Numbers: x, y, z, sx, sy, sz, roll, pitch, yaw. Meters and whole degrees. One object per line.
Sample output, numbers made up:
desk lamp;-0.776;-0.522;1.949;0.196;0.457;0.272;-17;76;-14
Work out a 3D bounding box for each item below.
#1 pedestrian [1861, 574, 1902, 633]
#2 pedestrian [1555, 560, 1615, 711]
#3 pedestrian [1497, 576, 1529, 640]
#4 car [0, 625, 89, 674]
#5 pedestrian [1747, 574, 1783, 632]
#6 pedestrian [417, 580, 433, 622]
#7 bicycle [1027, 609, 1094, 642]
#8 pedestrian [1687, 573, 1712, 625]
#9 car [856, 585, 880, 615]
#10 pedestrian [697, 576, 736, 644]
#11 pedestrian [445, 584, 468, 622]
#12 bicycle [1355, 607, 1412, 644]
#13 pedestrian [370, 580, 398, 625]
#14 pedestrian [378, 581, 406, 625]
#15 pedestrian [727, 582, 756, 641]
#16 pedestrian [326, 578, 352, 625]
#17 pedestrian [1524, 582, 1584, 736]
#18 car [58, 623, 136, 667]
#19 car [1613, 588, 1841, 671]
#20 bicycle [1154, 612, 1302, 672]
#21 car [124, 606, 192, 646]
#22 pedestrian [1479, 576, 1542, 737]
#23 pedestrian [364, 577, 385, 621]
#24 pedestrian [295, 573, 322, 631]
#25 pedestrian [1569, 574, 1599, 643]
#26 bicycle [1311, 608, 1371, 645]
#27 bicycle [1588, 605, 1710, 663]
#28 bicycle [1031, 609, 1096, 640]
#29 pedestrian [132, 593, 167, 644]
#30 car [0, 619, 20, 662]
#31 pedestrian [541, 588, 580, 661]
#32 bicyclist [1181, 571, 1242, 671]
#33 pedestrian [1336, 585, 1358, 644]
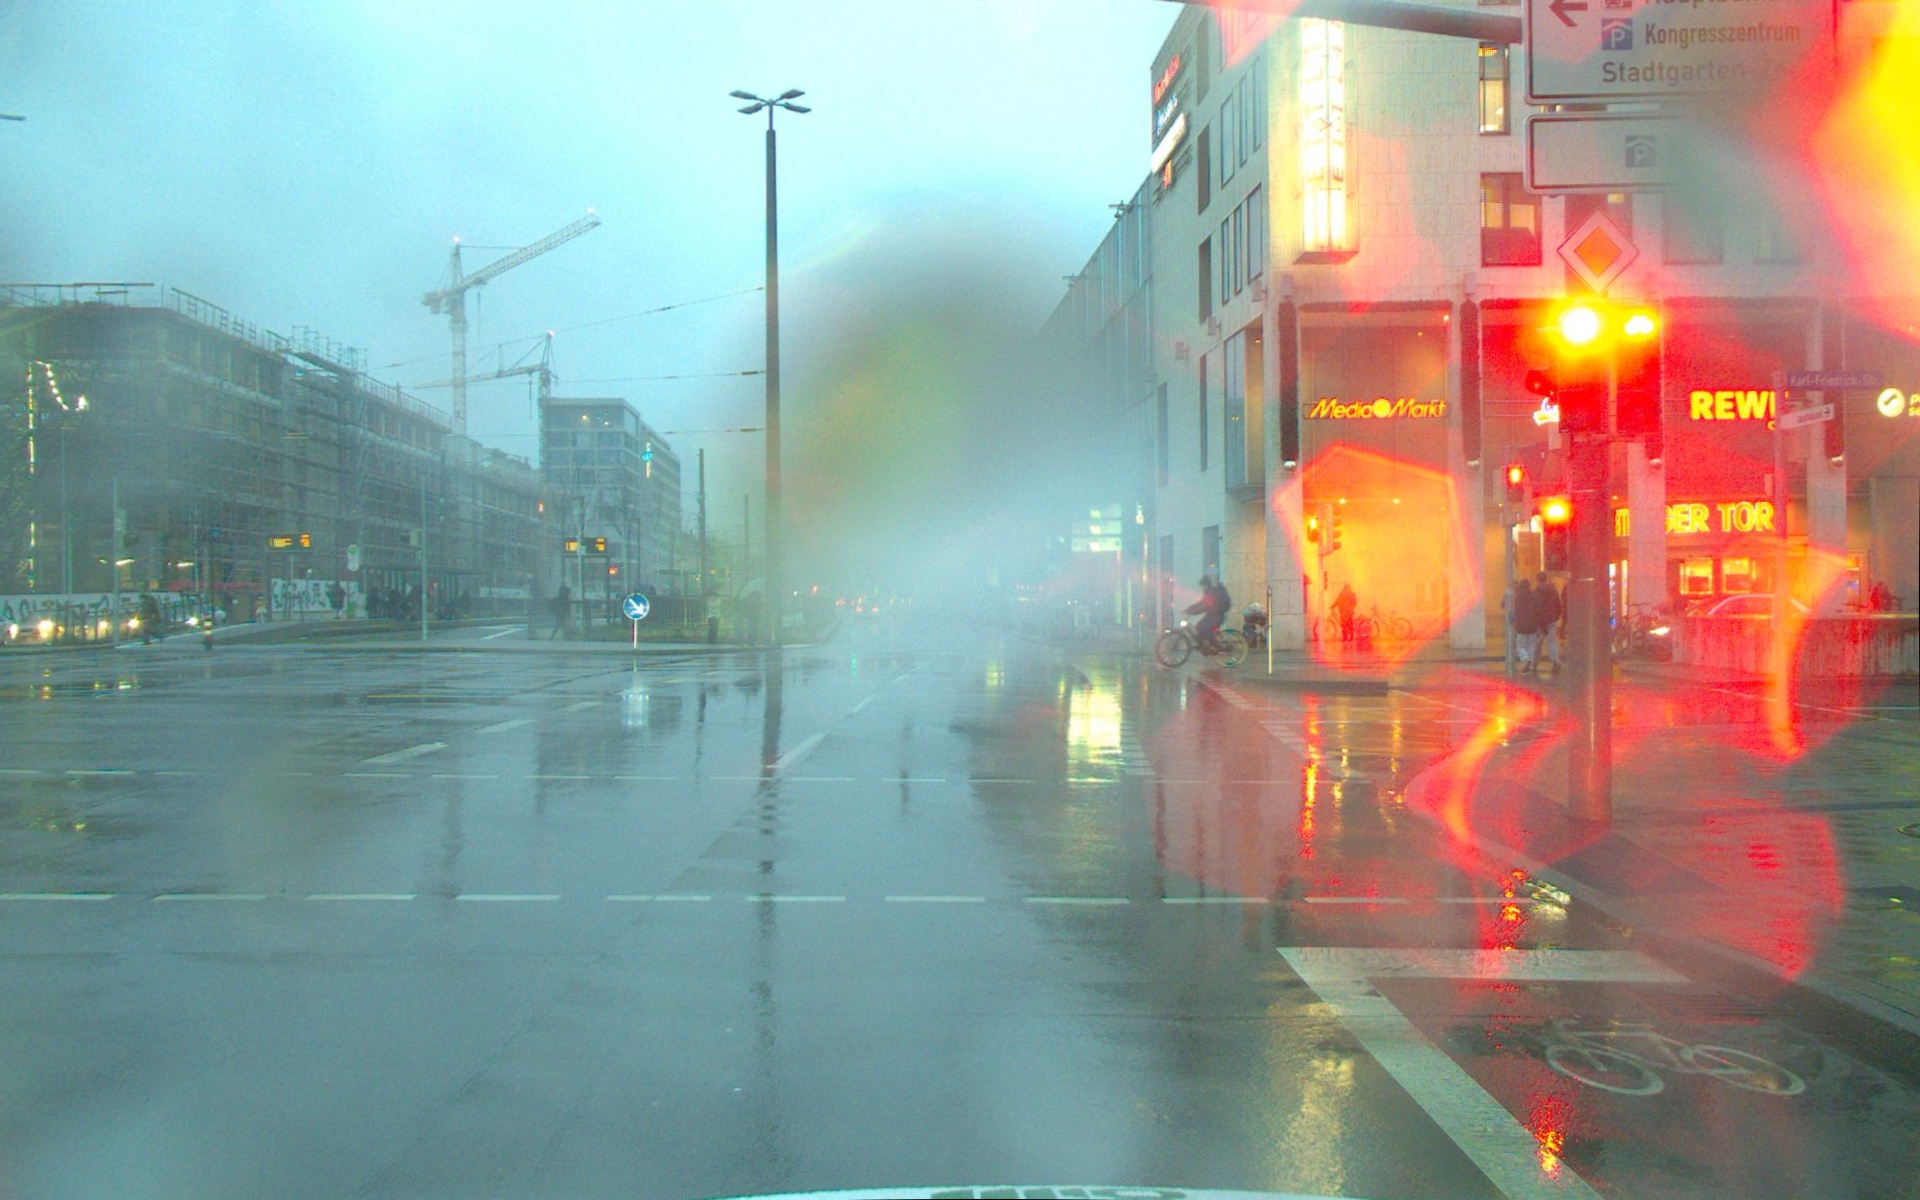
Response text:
pedestrian;26.829;0.108;48.165;0.875;1.714;0.528;-1;-1;-1
pedestrian;10.479;0.592;27.764;0.679;2.491;0.791;1;-1;-1
pedestrian;17.771;0.251;53.167;0.828;2.049;0.698;-1;0;8
car;-37.024;1.985;66.918;1.830;1.860;3.993;1;0;-8
pedestrian;24.139;0.080;49.590;0.726;1.713;0.782;1;-1;5
pedestrian;-26.037;0.054;80.490;0.559;2.002;0.664;2;-1;-7
bicycle;3.731;0.951;61.438;2.393;1.174;0.674;-1;-1;-2
pedestrian;25.164;-0.032;56.294;0.721;1.748;0.738;-1;-1;27
car;-6.339;-0.015;114.109;1.546;2.049;3.169;-1;0;-3
pedestrian;-6.845;0.284;46.444;0.813;1.863;0.777;1;-1;-31
pedestrian;-27.606;0.167;90.731;0.923;2.049;1.093;1;-1;-3
bicycle;13.044;0.779;50.986;1.614;1.088;0.524;1;-1;-5
pedestrian;-26.617;0.123;76.453;0.923;2.049;1.093;1;-1;-3
pedestrian;-26.838;0.126;78.179;0.923;2.049;1.093;1;-1;-3
pedestrian;-6.329;0.332;47.900;0.601;1.715;0.575;0;-1;41
pedestrian;-25.864;0.054;68.896;0.750;1.931;0.762;1;-2;-1
pedestrian;9.735;0.957;27.136;0.675;2.484;0.758;1;-1;-1
car;-37.695;1.939;72.328;1.958;1.822;3.988;1;0;-12
car;16.205;0.608;35.099;3.905;1.646;2.000;1;0;0
bicycle;5.208;0.809;32.245;2.795;1.118;0.746;1;0;7
car;-38.207;1.233;78.852;1.958;1.822;3.988;1;0;-12
pedestrian;8.632;0.874;25.951;0.700;2.484;0.758;1;-1;-1
pedestrian;-25.345;-0.034;71.641;0.684;1.913;0.553;1;-1;-2
pedestrian;-26.873;0.075;68.242;0.750;2.364;0.762;1;-2;-1
pedestrian;18.994;0.260;50.369;0.775;2.049;0.593;-1;-1;18
bicycle;11.605;0.812;50.387;1.729;1.088;0.525;1;-1;7
bicycle;17.199;0.840;41.346;2.659;1.383;0.957;-1;-1;-4
bicycle;3.889;0.922;62.494;2.376;1.118;0.711;-1;-1;-3
pedestrian;-22.996;0.518;46.917;0.724;1.413;0.713;1;-1;-42
car;-36.409;1.522;60.528;2.038;1.557;4.604;-1;0;-10
pedestrian;-11.406;0.685;47.216;0.771;2.049;0.724;0;-1;41
bicyclist;4.898;0.411;32.280;1.132;1.904;0.746;1;-1;7
pedestrian;11.664;0.438;49.839;0.587;1.775;0.525;1;-1;7
